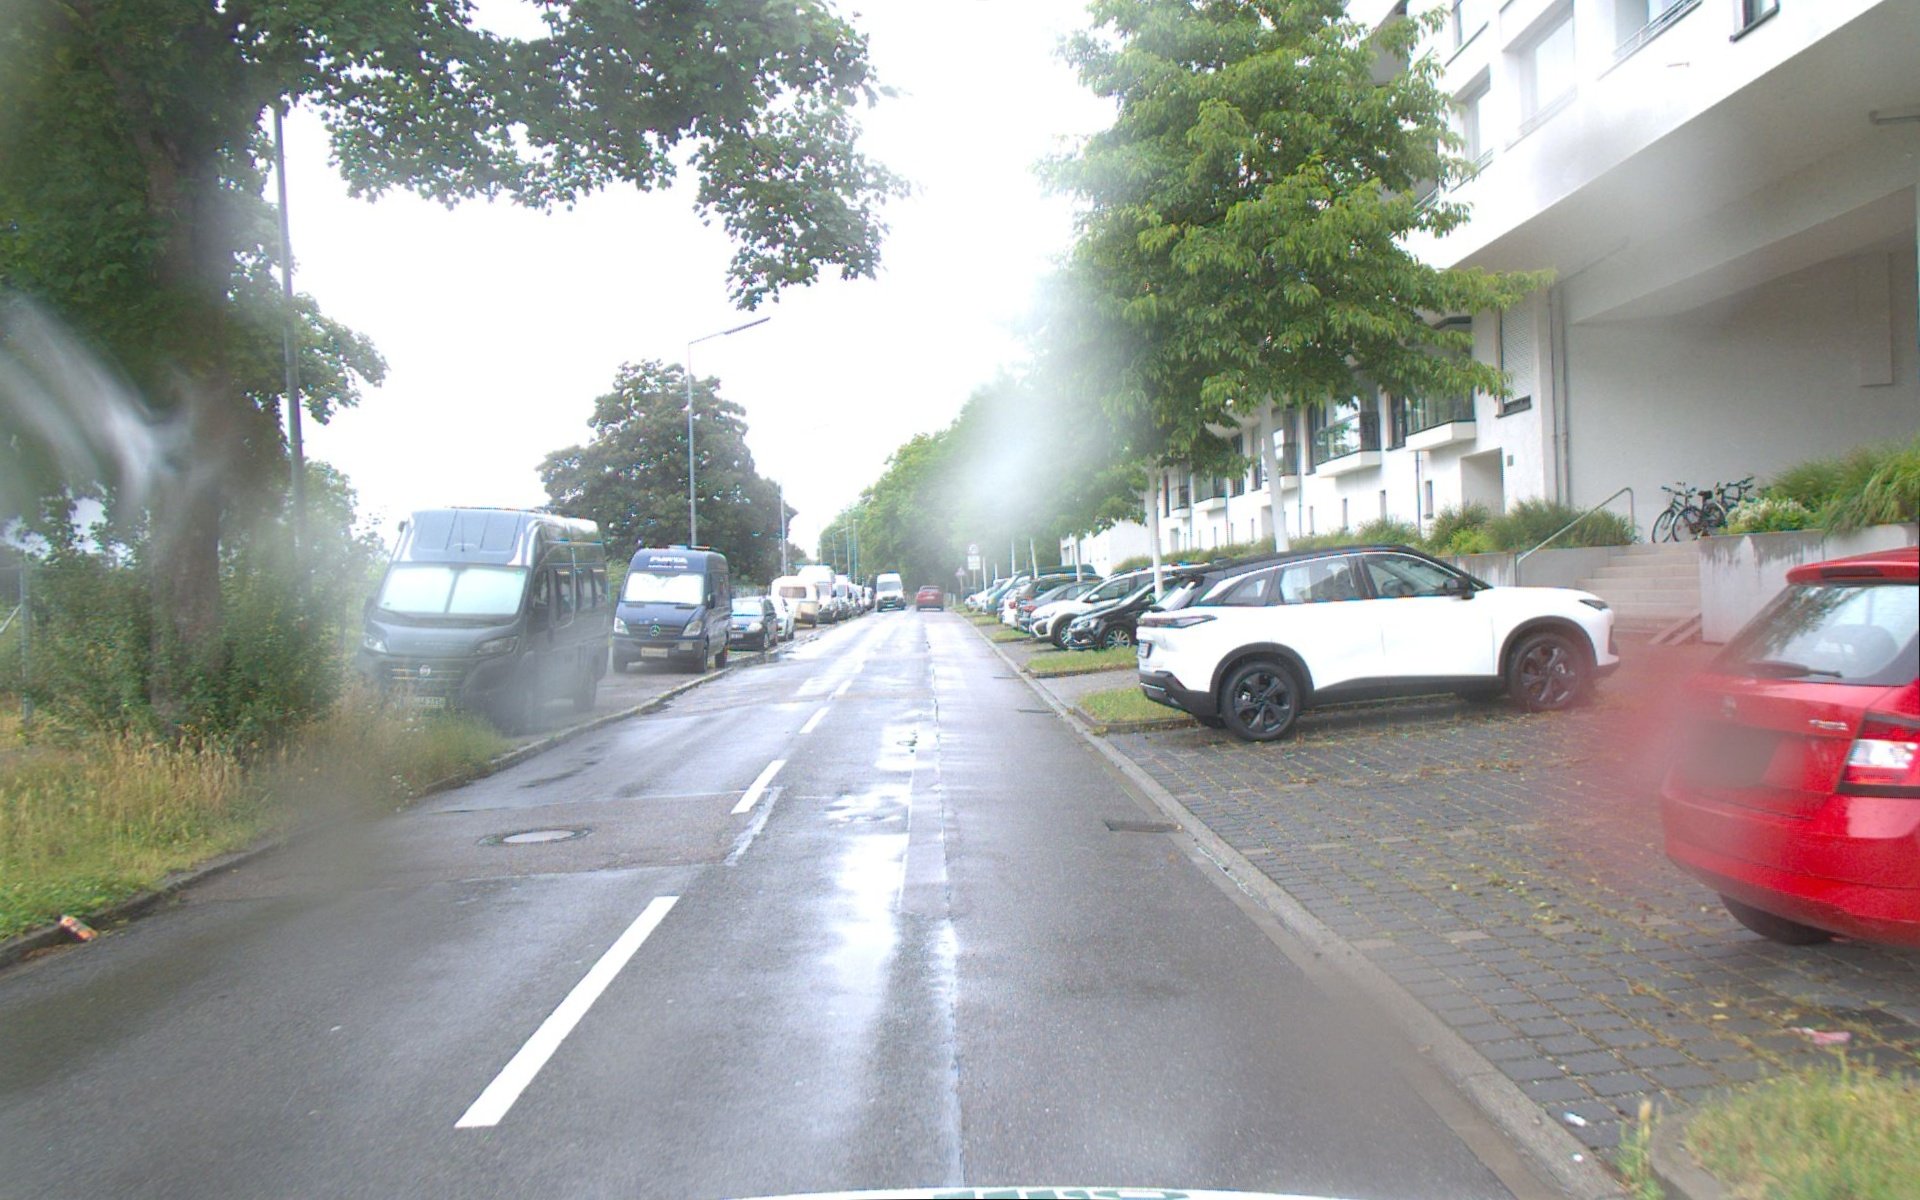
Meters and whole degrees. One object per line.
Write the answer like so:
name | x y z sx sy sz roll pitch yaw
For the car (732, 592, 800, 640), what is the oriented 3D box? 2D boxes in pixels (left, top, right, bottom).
car | -6.525 0.515 56.147 1.849 1.552 5.107 0 0 -2

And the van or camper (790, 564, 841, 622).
van or camper | -7.321 -0.332 84.458 1.953 2.810 7.897 -1 0 -1

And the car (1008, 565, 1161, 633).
car | 3.547 -0.039 47.595 4.080 1.652 1.896 -4 0 -4

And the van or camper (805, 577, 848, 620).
van or camper | -7.988 -0.090 99.301 2.145 2.505 6.376 -1 0 -1

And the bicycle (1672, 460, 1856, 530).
bicycle | 14.680 -1.903 30.290 2.893 1.138 0.916 -1 0 15

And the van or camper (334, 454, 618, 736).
van or camper | -6.110 -0.040 21.826 2.052 3.148 6.421 0 0 -2

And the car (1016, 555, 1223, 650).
car | 3.613 0.048 37.990 4.388 1.715 1.935 -5 1 -3

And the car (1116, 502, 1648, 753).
car | 3.929 0.236 15.896 4.453 1.713 1.884 -7 0 -4

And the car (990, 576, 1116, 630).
car | 3.083 0.100 55.430 3.952 1.525 1.630 -4 0 -5

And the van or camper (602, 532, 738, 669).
van or camper | -6.414 0.029 37.475 2.052 2.763 7.570 0 0 -3

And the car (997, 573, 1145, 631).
car | 3.316 0.058 49.991 4.214 1.453 1.636 -4 0 -4

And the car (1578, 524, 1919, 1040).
car | 4.495 0.399 5.775 3.908 1.476 1.820 -4 -1 -2

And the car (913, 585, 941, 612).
car | -2.222 -0.098 110.378 1.721 1.735 3.998 -2 0 -3

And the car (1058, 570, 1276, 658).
car | 4.027 0.245 32.520 3.909 1.521 1.935 -2 1 -5

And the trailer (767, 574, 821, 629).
trailer | -7.168 0.051 71.954 2.017 2.256 5.791 -1 0 -3

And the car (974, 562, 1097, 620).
car | 2.934 -0.350 64.826 4.529 2.055 1.856 -2 0 -6

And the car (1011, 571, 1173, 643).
car | 3.336 0.153 42.403 3.907 1.536 1.684 -4 1 -2

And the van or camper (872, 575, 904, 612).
van or camper | -5.257 -0.466 121.292 1.953 2.540 7.177 -3 0 0

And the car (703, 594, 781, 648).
car | -6.456 0.591 49.376 1.738 1.529 4.827 0 0 -1
